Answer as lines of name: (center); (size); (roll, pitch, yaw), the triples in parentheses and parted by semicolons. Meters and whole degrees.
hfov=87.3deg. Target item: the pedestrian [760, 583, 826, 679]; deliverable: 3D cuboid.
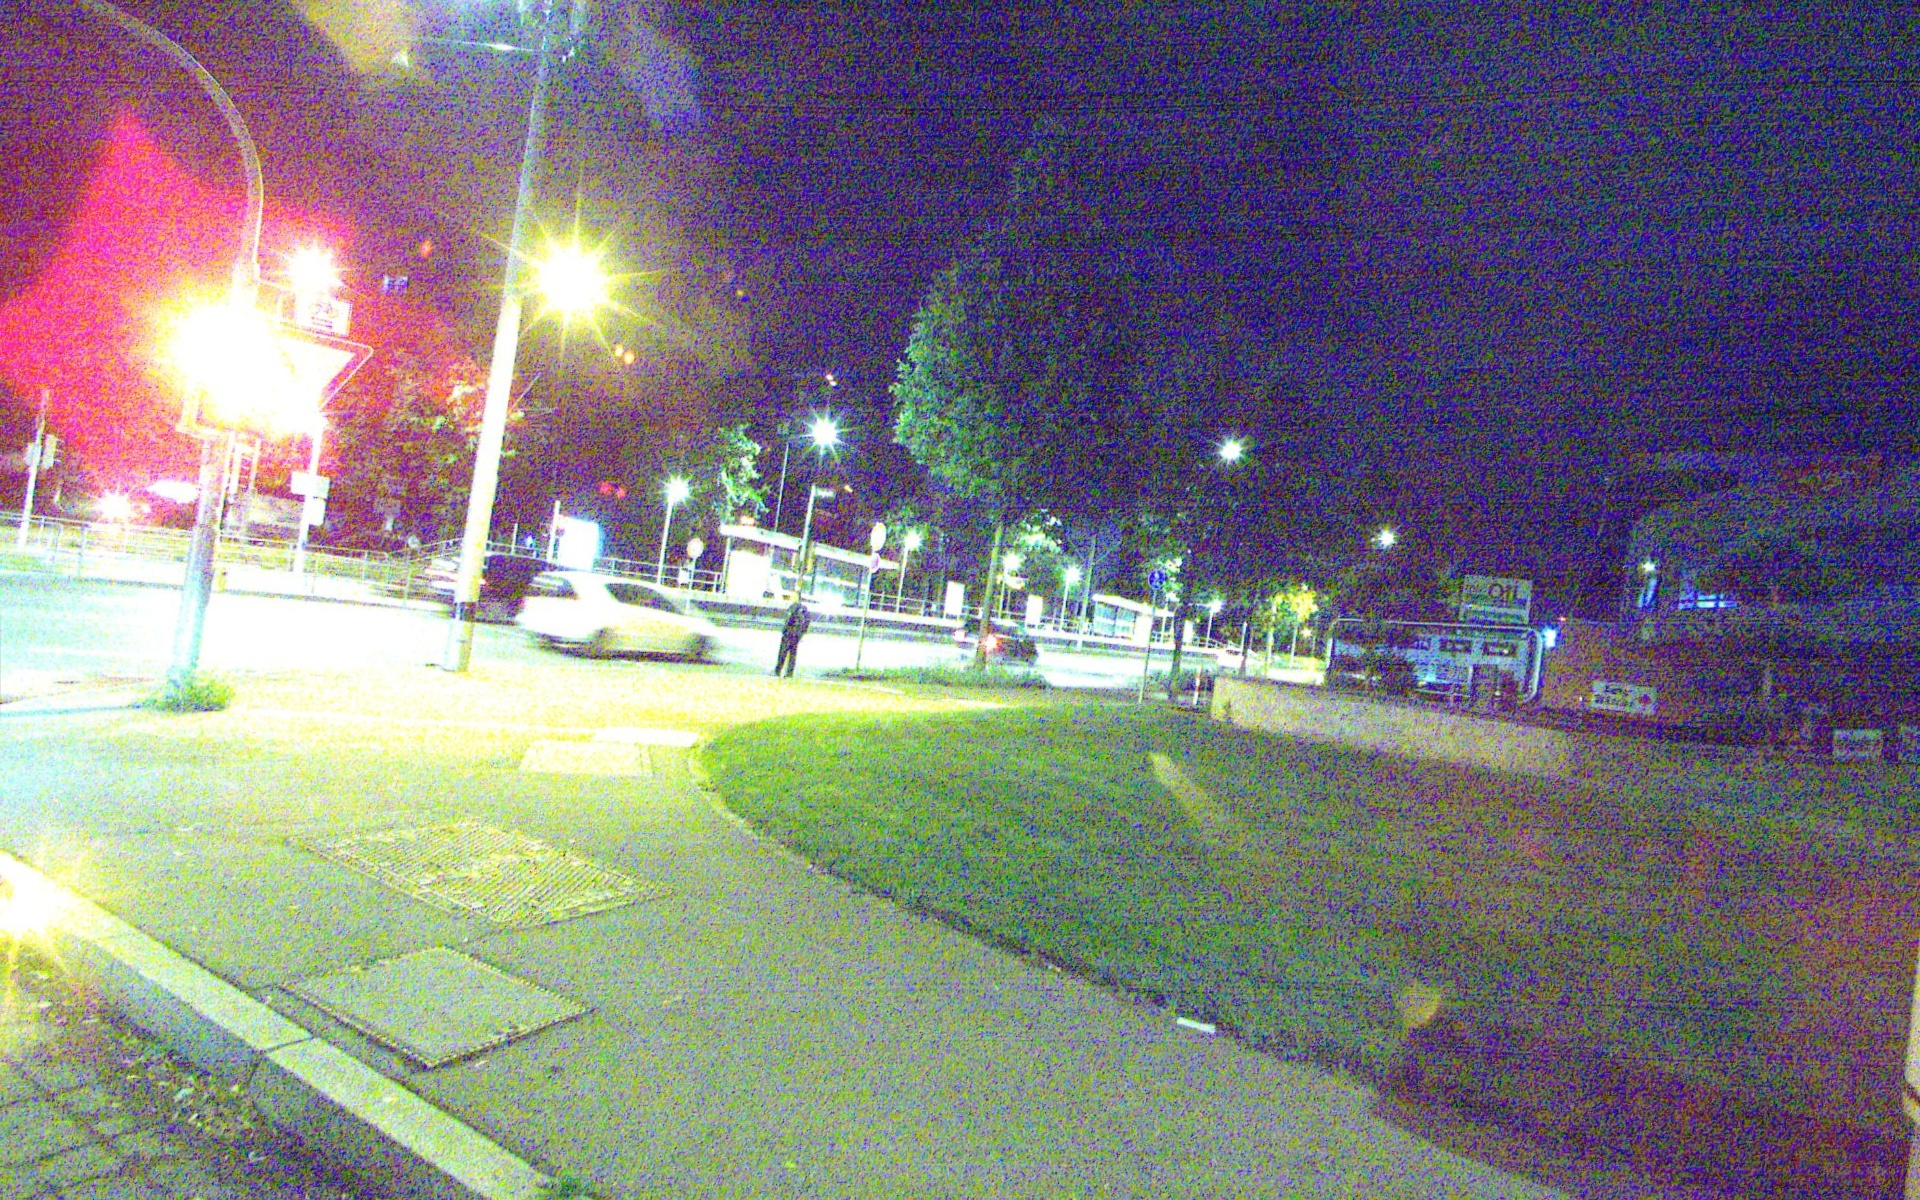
pedestrian: (-3.247, 0.612, 19.570); (0.820, 1.767, 0.755); (6, 1, 31)

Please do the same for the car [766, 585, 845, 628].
car: (-8.477, 0.359, 55.560); (1.970, 2.039, 3.985); (6, 0, 36)

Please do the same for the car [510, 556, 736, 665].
car: (-6.790, 0.277, 20.638); (1.781, 1.683, 3.990); (9, 0, 35)

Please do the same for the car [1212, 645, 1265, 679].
car: (17.472, 3.892, 62.999); (1.844, 1.703, 4.288); (9, 0, 32)

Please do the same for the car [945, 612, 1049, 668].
car: (1.487, 1.583, 38.633); (1.781, 1.671, 4.346); (8, 0, 34)

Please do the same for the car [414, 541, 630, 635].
car: (-10.690, -0.230, 24.868); (1.834, 1.679, 4.449); (9, 0, 35)
